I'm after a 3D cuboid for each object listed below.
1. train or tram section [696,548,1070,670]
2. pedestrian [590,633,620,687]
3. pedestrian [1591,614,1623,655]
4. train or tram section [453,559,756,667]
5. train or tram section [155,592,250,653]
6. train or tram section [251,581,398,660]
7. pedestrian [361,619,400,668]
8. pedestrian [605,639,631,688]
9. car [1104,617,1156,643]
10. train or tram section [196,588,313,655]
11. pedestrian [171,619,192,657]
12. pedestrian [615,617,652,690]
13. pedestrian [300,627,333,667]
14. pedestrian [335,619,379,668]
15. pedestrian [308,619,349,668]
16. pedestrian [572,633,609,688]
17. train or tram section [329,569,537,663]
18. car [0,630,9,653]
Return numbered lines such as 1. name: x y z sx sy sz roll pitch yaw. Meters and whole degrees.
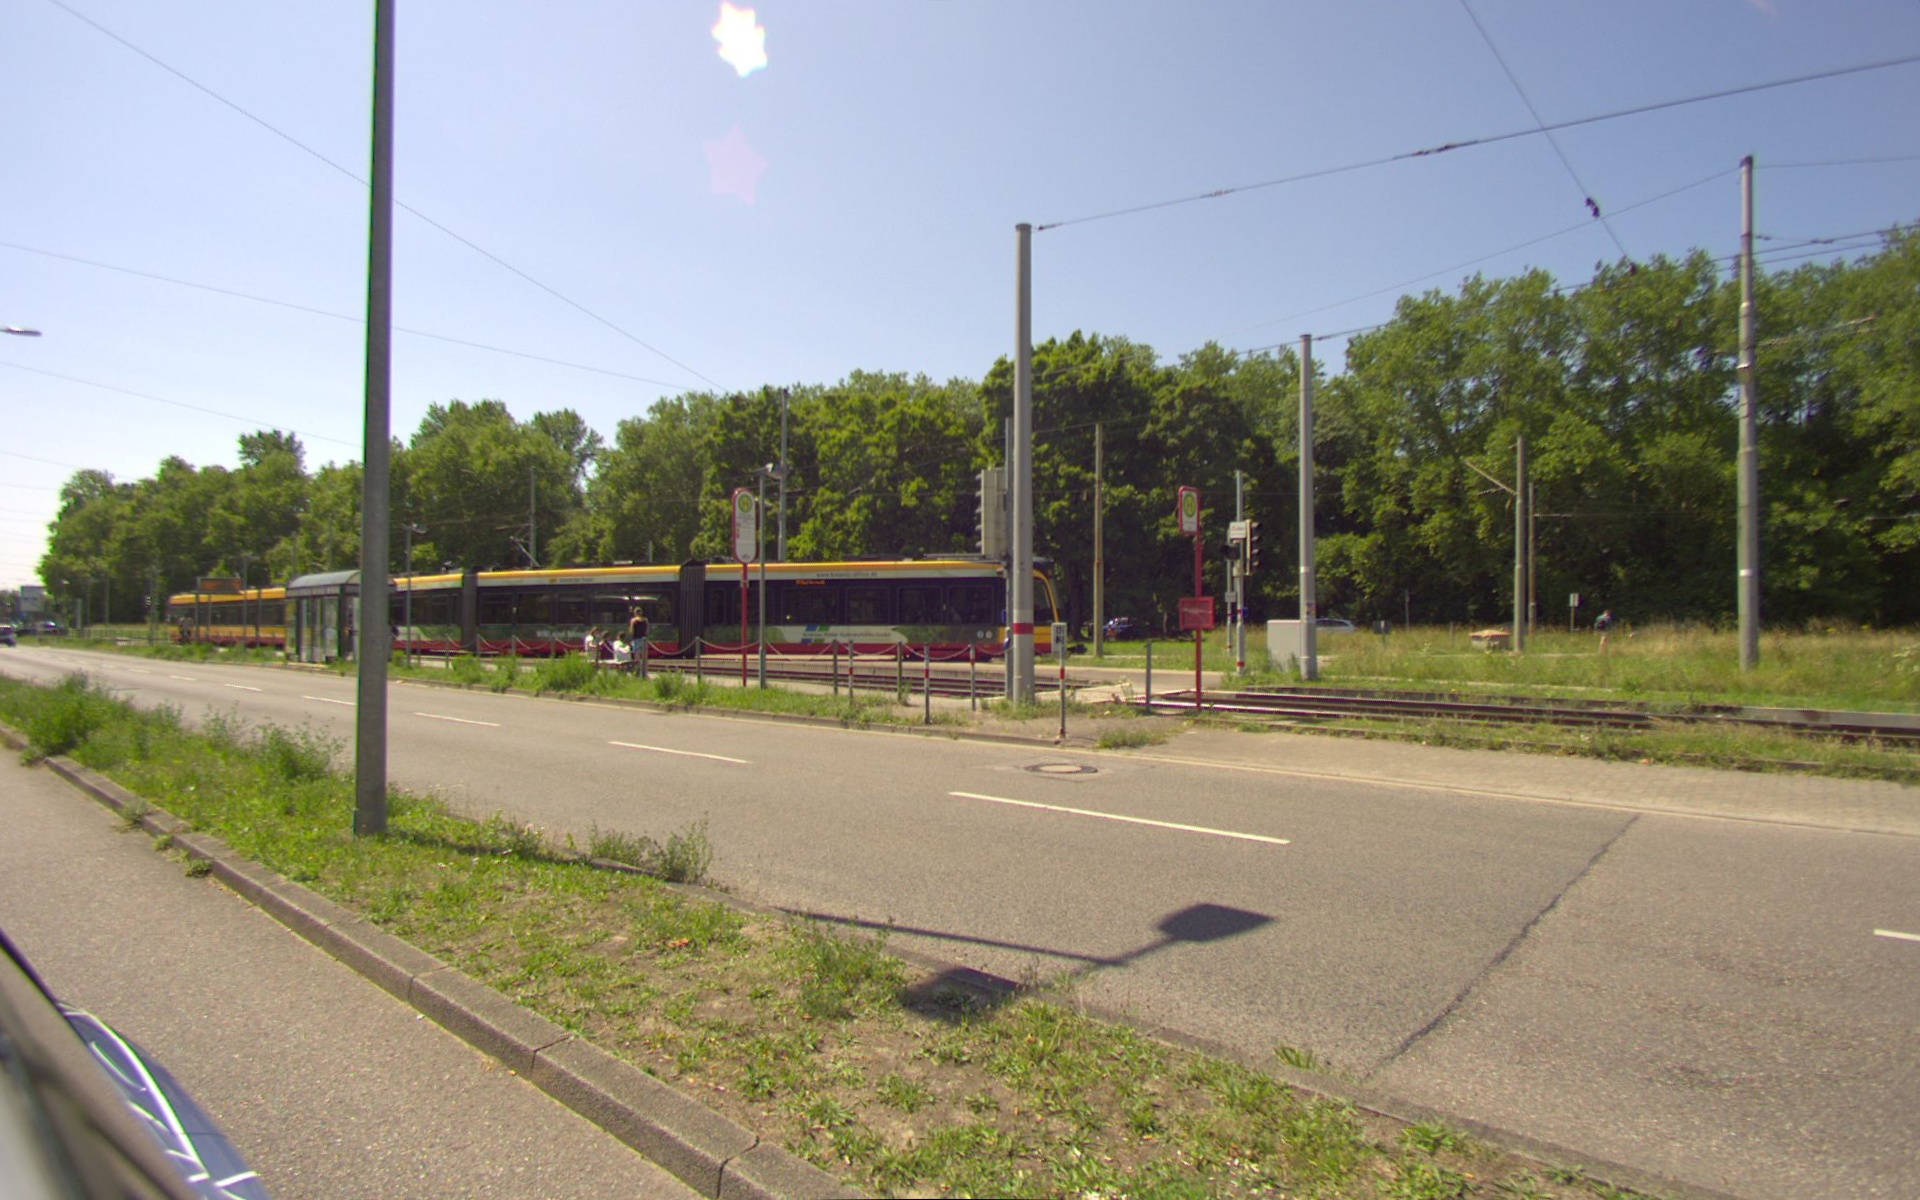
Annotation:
1. train or tram section: -2.634 0.387 34.452 12.331 3.652 3.040 -2 -1 14
2. pedestrian: -8.000 1.348 22.800 0.398 1.198 0.491 -2 -1 27
3. pedestrian: 25.710 1.360 40.208 0.778 1.586 0.692 -1 -1 -5
4. train or tram section: -13.677 0.604 38.322 12.385 3.652 3.027 -2 -1 26
5. train or tram section: -52.785 1.580 70.353 11.535 3.884 2.919 -2 -1 41
6. train or tram section: -34.022 1.124 53.809 13.257 3.795 3.011 -2 -1 42
7. pedestrian: -18.809 1.407 32.854 0.878 1.519 0.826 -2 -1 39
8. pedestrian: -7.660 1.424 22.669 0.377 1.066 0.379 -2 -1 40
9. car: 11.136 1.986 66.433 3.058 1.608 1.375 -2 -1 28
10. train or tram section: -43.703 1.355 62.440 12.589 3.770 3.012 -2 -1 41
11. pedestrian: -38.580 1.878 50.144 0.776 1.804 0.625 -2 -1 40
12. pedestrian: -7.218 1.182 22.386 0.582 1.577 0.529 -2 -1 40
13. pedestrian: -21.659 1.570 34.077 0.839 1.293 0.694 -2 -1 39
14. pedestrian: -19.773 1.407 33.191 0.984 1.558 0.921 -2 -1 39
15. pedestrian: -20.929 1.436 33.532 1.025 1.558 0.865 -2 -1 39
16. pedestrian: -8.416 1.372 23.064 0.534 1.198 0.577 -2 -1 28
17. train or tram section: -23.715 0.778 44.891 13.884 3.652 3.013 -2 -1 40
18. car: -67.106 2.863 69.829 3.716 1.516 1.751 -2 -2 40
